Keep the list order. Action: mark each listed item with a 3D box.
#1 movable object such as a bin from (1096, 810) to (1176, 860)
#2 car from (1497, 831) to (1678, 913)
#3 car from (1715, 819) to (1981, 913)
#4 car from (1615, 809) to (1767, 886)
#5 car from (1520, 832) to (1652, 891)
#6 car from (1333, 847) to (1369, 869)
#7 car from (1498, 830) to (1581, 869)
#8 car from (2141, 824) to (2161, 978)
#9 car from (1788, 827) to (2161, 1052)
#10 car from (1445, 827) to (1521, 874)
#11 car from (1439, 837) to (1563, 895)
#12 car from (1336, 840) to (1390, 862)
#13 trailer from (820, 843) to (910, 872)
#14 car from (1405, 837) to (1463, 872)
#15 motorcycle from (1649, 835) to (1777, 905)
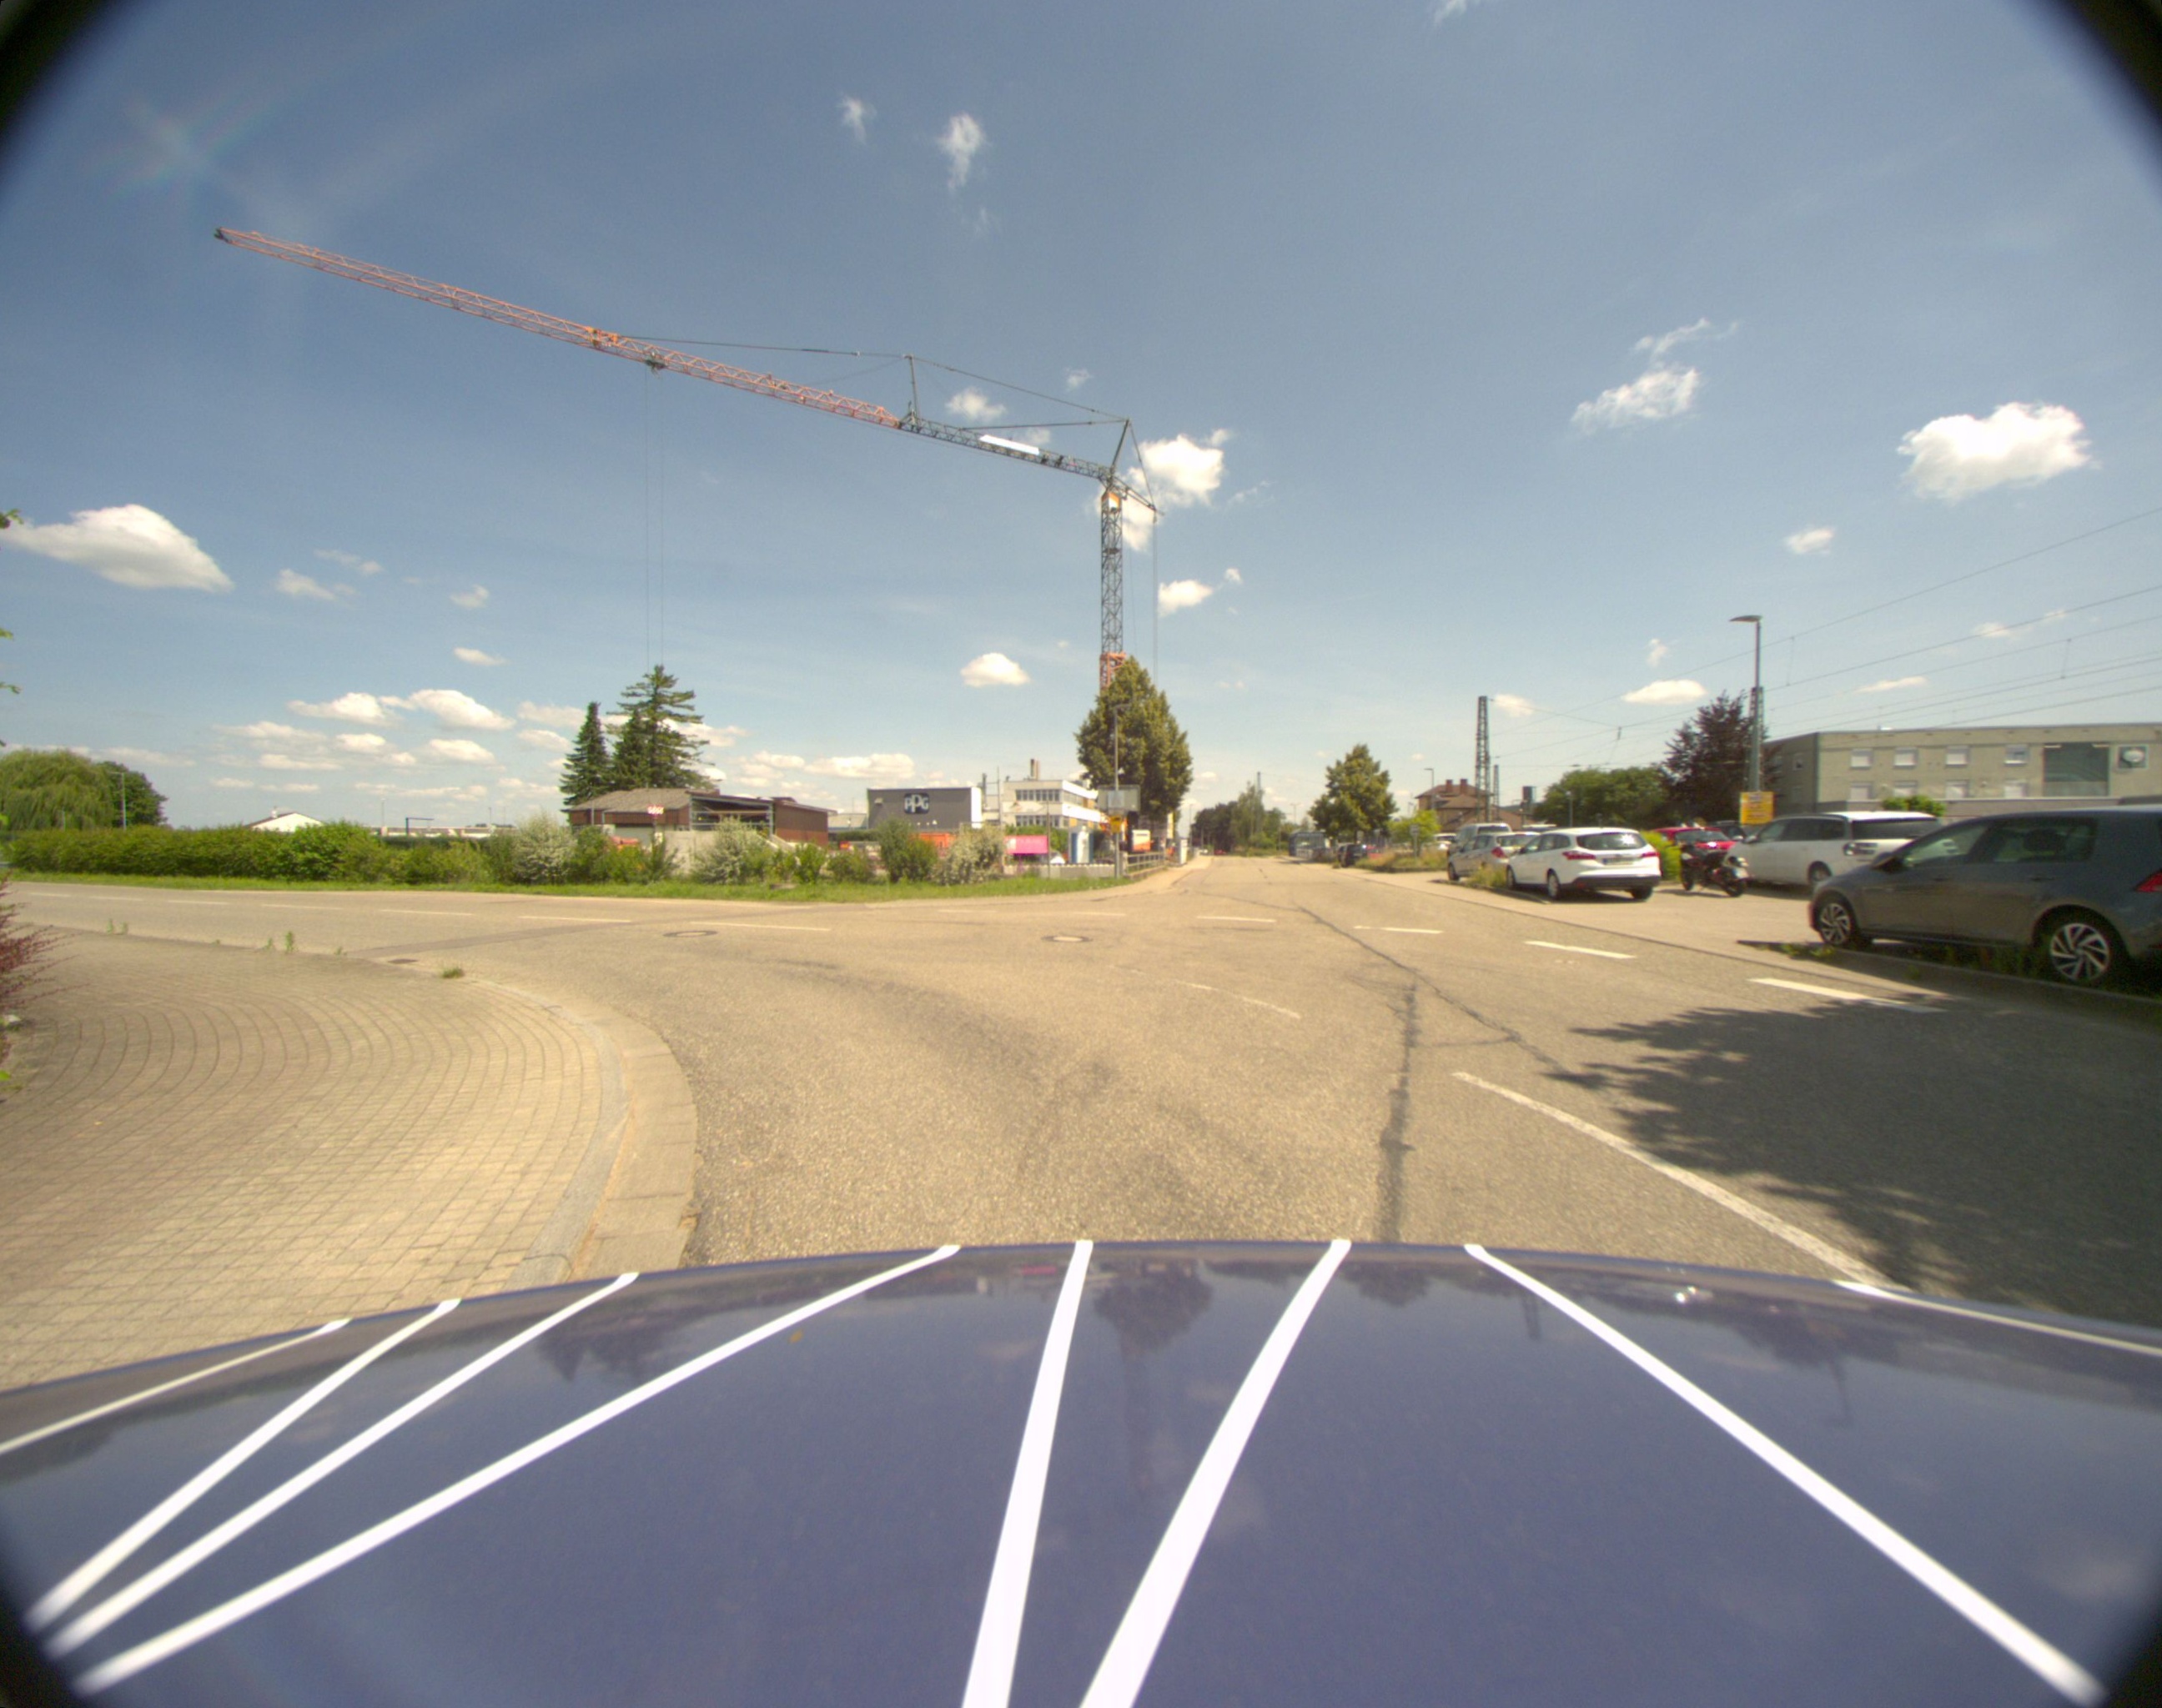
[{"bbox_3d":[3.746,-1.337,52.818,5.129,3.277,2.391,0,7,-8],"label":"movable object such as a bin"},{"bbox_3d":[10.852,0.296,16.677,1.806,1.555,4.265,0,1,12],"label":"car"},{"bbox_3d":[15.449,0.182,15.713,1.996,1.648,4.267,0,1,15],"label":"car"},{"bbox_3d":[17.301,-0.208,21.828,1.848,2.002,4.003,0,1,13],"label":"car"},{"bbox_3d":[14.617,0.162,22.293,1.803,1.555,4.266,0,1,13],"label":"car"},{"bbox_3d":[17.585,0.207,49.685,1.606,1.342,4.003,0,1,11],"label":"car"},{"bbox_3d":[19.930,-0.240,33.261,1.951,1.600,4.276,0,1,14],"label":"car"},{"bbox_3d":[11.160,0.500,5.737,1.793,1.528,3.582,0,1,15],"label":"car"},{"bbox_3d":[8.661,0.547,6.812,1.687,1.522,4.066,0,1,15],"label":"car"},{"bbox_3d":[16.636,-0.183,31.655,1.951,1.822,3.839,0,1,14],"label":"car"},{"bbox_3d":[12.117,0.273,22.220,1.794,1.535,3.961,0,1,7],"label":"car"},{"bbox_3d":[21.106,-0.255,56.954,3.435,1.583,1.649,0,3,3],"label":"car"},{"bbox_3d":[-14.114,0.195,49.887,5.397,1.770,1.820,0,3,-4],"label":"trailer"},{"bbox_3d":[17.890,-0.009,38.674,1.731,1.676,4.003,1,1,11],"label":"car"},{"bbox_3d":[13.452,0.286,16.331,0.738,1.365,3.216,0,1,13],"label":"motorcycle"}]
